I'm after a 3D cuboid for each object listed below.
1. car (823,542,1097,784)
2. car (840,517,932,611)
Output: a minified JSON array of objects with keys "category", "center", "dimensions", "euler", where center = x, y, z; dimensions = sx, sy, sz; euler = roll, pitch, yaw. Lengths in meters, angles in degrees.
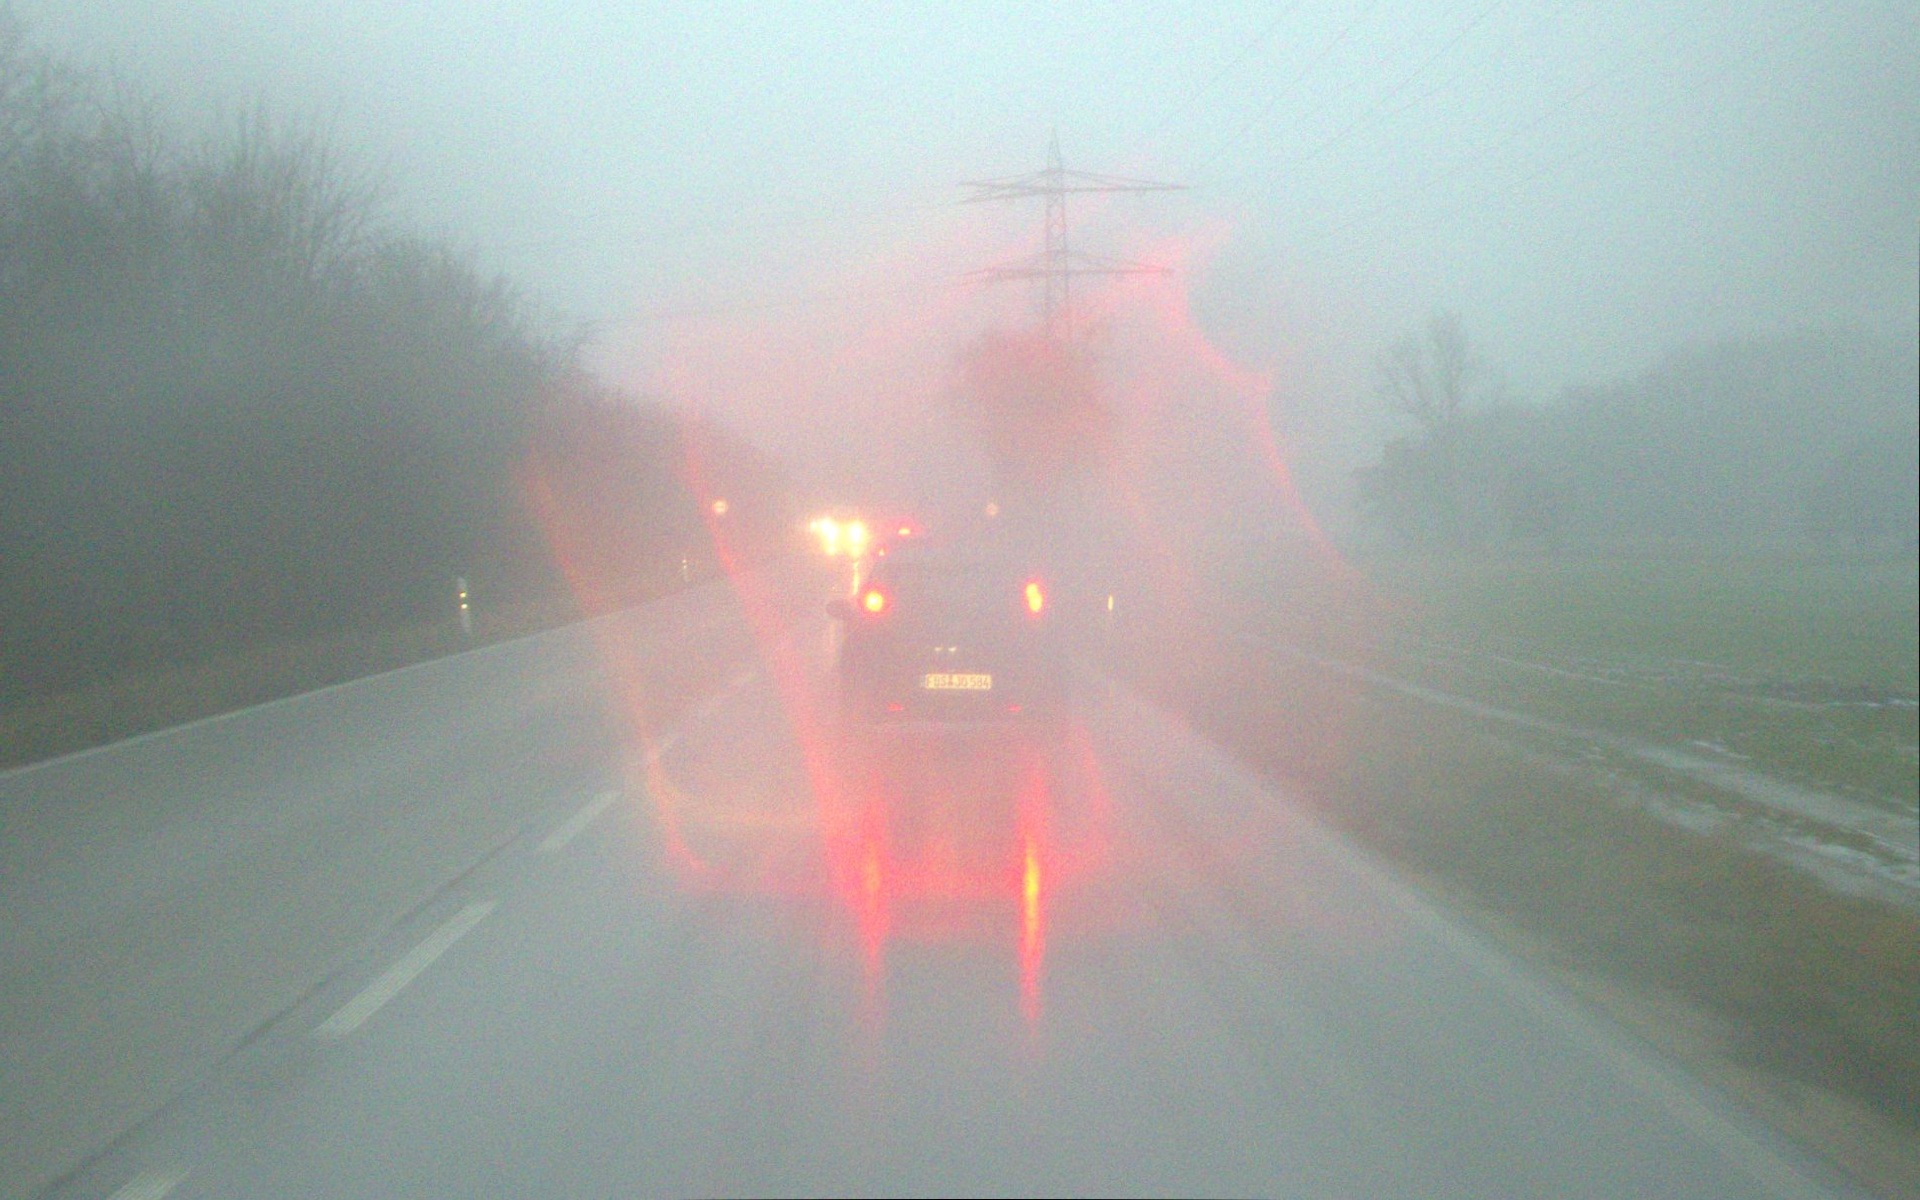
[{"category":"car","center":[-0.029,0.421,27.018],"dimensions":[1.993,1.746,4.000],"euler":[0,1,-1]},{"category":"car","center":[-1.686,-0.857,79.167],"dimensions":[1.993,2.006,4.001],"euler":[1,2,0]}]
